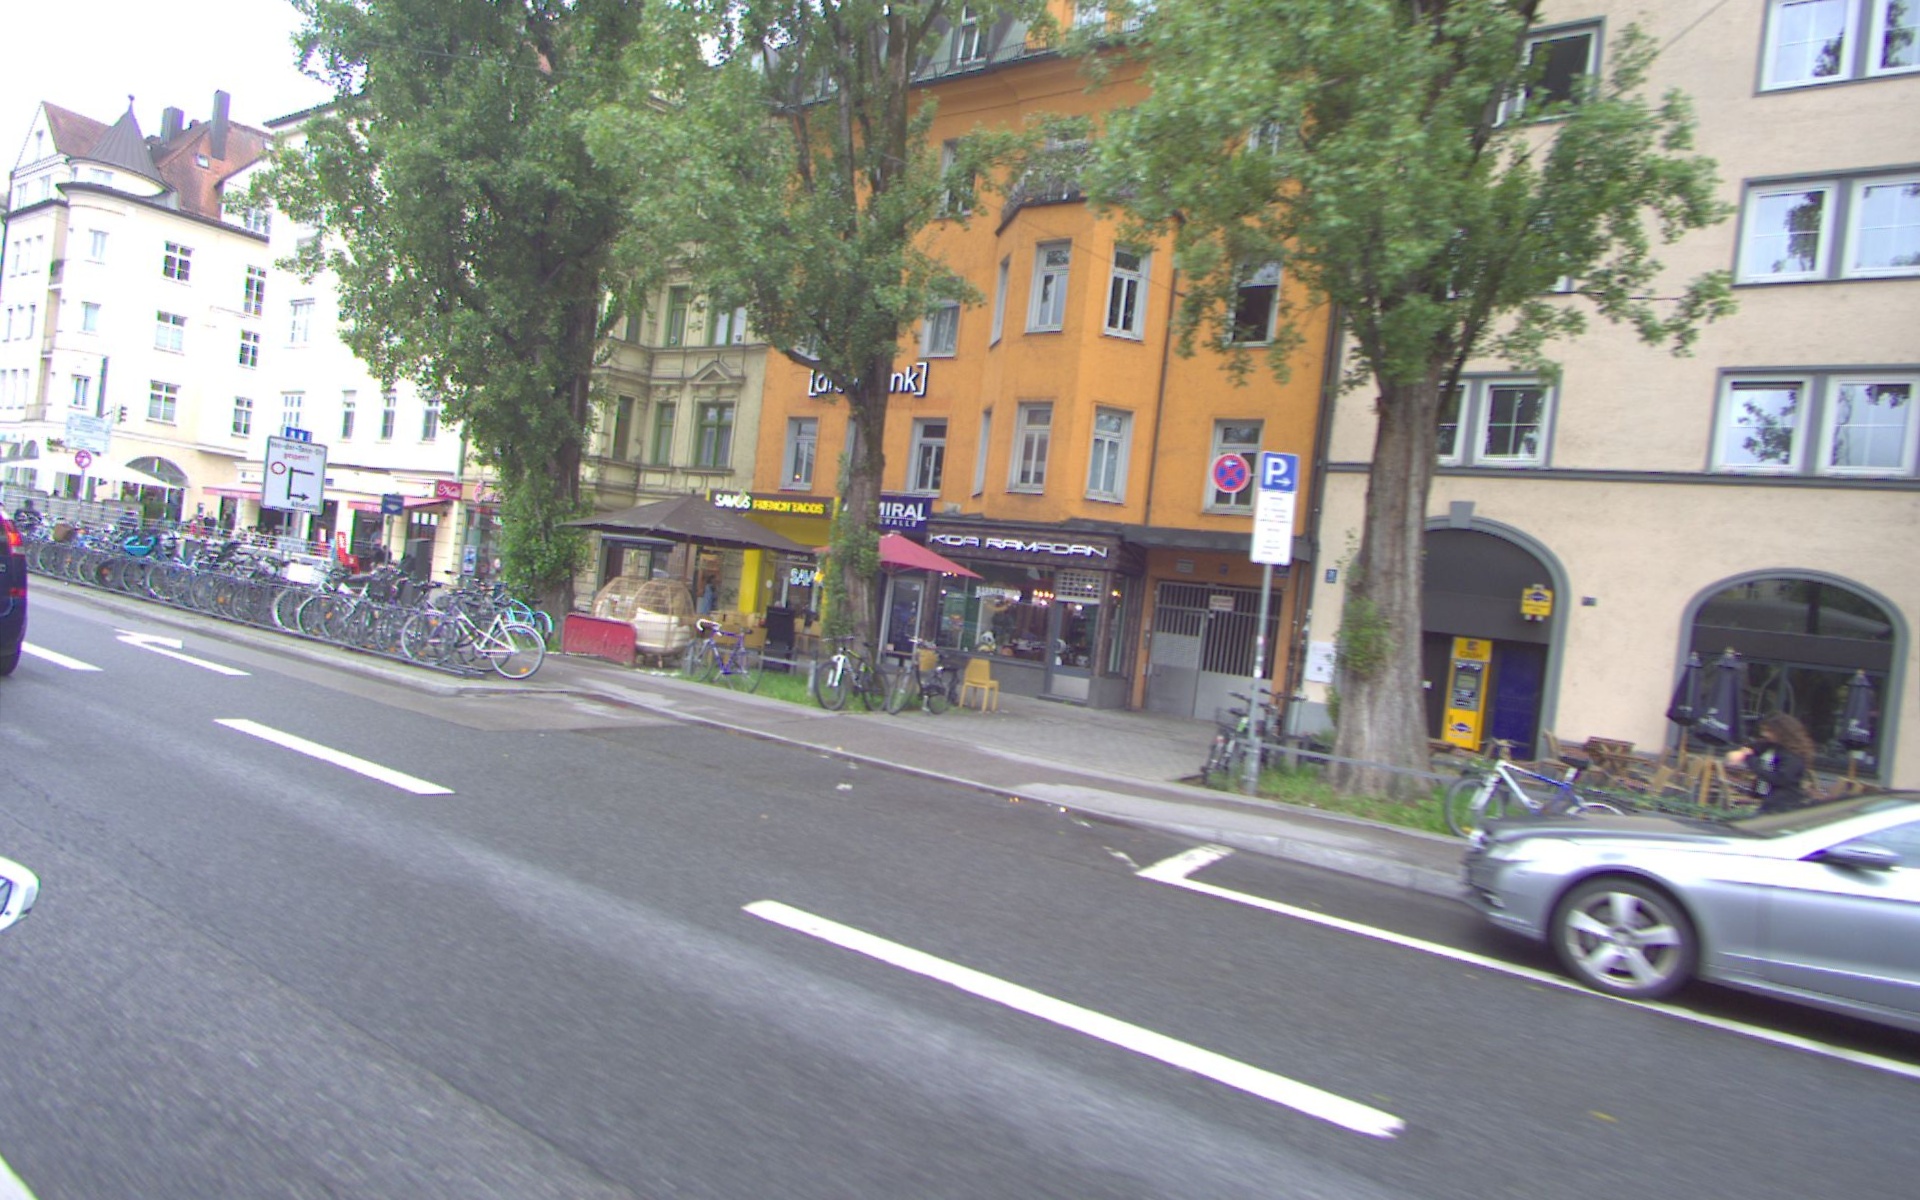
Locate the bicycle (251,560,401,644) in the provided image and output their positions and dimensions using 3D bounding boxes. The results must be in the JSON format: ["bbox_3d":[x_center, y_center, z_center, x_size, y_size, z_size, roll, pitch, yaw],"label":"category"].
[{"bbox_3d":[-9.656,0.029,15.360,1.814,1.008,0.374,9,1,-14],"label":"bicycle"}]

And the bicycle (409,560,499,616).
[{"bbox_3d":[-11.673,-0.264,23.243,0.382,1.058,1.720,9,0,42],"label":"bicycle"}]

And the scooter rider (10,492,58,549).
[{"bbox_3d":[-25.112,-2.151,27.278,0.632,1.406,0.701,7,1,30],"label":"scooter rider"}]

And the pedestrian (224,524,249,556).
[{"bbox_3d":[-29.462,-2.463,40.978,0.691,1.197,0.515,7,1,30],"label":"pedestrian"}]

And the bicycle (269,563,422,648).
[{"bbox_3d":[-9.143,0.091,15.031,1.817,1.008,0.373,9,1,-20],"label":"bicycle"}]

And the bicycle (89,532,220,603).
[{"bbox_3d":[-14.599,-0.580,18.257,1.812,1.008,0.324,9,1,-12],"label":"bicycle"}]

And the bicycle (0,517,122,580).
[{"bbox_3d":[-18.548,-1.044,20.781,1.816,1.008,0.324,9,1,-19],"label":"bicycle"}]

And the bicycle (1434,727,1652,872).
[{"bbox_3d":[5.444,1.830,9.460,1.626,0.977,0.589,7,1,32],"label":"bicycle"}]

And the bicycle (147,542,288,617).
[{"bbox_3d":[-12.639,-0.337,17.167,1.817,1.008,0.323,9,1,-21],"label":"bicycle"}]

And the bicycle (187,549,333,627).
[{"bbox_3d":[-11.418,-0.185,16.457,1.817,1.008,0.373,9,1,-21],"label":"bicycle"}]

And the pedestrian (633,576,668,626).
[{"bbox_3d":[-8.630,0.022,28.062,0.573,1.296,0.584,7,1,31],"label":"pedestrian"}]

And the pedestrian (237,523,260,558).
[{"bbox_3d":[-27.971,-2.343,39.551,0.518,1.315,0.479,7,1,30],"label":"pedestrian"}]

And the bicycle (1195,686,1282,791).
[{"bbox_3d":[3.296,1.571,11.786,0.450,1.067,1.891,7,0,29],"label":"bicycle"}]

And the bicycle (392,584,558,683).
[{"bbox_3d":[-6.282,0.433,13.088,1.811,1.008,0.375,9,1,-8],"label":"bicycle"}]

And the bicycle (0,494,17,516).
[{"bbox_3d":[-52.234,-5.205,54.862,1.833,1.103,0.495,7,1,26],"label":"bicycle"}]

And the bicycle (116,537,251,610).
[{"bbox_3d":[-13.707,-0.468,17.792,1.815,1.008,0.324,9,1,-16],"label":"bicycle"}]

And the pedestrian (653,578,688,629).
[{"bbox_3d":[-7.946,0.105,27.609,0.573,1.296,0.584,7,1,31],"label":"pedestrian"}]

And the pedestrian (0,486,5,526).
[{"bbox_3d":[-38.520,-3.788,39.736,0.874,1.560,0.732,7,1,17],"label":"pedestrian"}]

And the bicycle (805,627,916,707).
[{"bbox_3d":[-1.436,1.007,14.929,0.451,1.067,1.889,7,0,33],"label":"bicycle"}]

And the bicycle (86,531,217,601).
[{"bbox_3d":[-14.908,-0.613,18.582,1.815,1.008,0.324,9,1,-16],"label":"bicycle"}]

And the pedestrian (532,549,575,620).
[{"bbox_3d":[-10.600,-0.404,26.223,0.655,1.761,0.601,7,1,32],"label":"pedestrian"}]

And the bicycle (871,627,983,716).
[{"bbox_3d":[-0.454,1.066,14.901,0.573,1.188,1.889,7,0,33],"label":"bicycle"}]

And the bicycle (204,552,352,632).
[{"bbox_3d":[-10.829,-0.116,16.018,1.817,1.008,0.373,9,1,-21],"label":"bicycle"}]

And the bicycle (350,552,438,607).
[{"bbox_3d":[-12.855,-0.450,22.908,0.380,1.058,1.727,9,0,26],"label":"bicycle"}]

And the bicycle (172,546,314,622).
[{"bbox_3d":[-12.002,-0.256,16.901,1.825,1.008,0.372,9,0,-35],"label":"bicycle"}]

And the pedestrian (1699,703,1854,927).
[{"bbox_3d":[6.535,1.677,8.105,0.751,1.582,0.760,8,1,36],"label":"pedestrian"}]

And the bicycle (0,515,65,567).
[{"bbox_3d":[-20.930,-1.338,22.147,1.812,1.008,0.347,6,1,-14],"label":"bicycle"}]

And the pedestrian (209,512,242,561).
[{"bbox_3d":[-26.110,-2.254,35.752,0.666,1.653,0.615,7,1,32],"label":"pedestrian"}]

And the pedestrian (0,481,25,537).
[{"bbox_3d":[-31.508,-3.022,32.926,0.842,1.765,0.884,7,1,16],"label":"pedestrian"}]

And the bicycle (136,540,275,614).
[{"bbox_3d":[-13.118,-0.392,17.535,1.820,1.008,0.323,9,1,-26],"label":"bicycle"}]

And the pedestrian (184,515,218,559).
[{"bbox_3d":[-26.895,-2.230,35.643,0.606,1.440,0.676,7,1,32],"label":"pedestrian"}]

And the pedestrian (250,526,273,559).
[{"bbox_3d":[-27.113,-2.237,39.057,0.518,1.180,0.479,7,1,30],"label":"pedestrian"}]

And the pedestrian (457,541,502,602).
[{"bbox_3d":[-13.940,-0.830,29.185,0.773,1.653,0.711,7,1,32],"label":"pedestrian"}]

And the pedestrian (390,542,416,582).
[{"bbox_3d":[-19.409,-1.322,35.071,0.543,1.305,0.495,7,1,32],"label":"pedestrian"}]

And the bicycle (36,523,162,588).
[{"bbox_3d":[-17.143,-0.881,20.058,1.818,1.008,0.323,9,1,-22],"label":"bicycle"}]

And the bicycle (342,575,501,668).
[{"bbox_3d":[-7.408,0.299,13.881,1.811,1.008,0.375,9,1,-8],"label":"bicycle"}]

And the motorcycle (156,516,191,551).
[{"bbox_3d":[-30.028,-2.531,38.384,1.545,1.171,0.487,7,1,33],"label":"motorcycle"}]

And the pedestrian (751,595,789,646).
[{"bbox_3d":[-4.894,0.534,25.955,0.573,1.233,0.623,7,1,31],"label":"pedestrian"}]

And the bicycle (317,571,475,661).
[{"bbox_3d":[-7.970,0.232,14.264,1.813,1.008,0.374,9,1,-14],"label":"bicycle"}]

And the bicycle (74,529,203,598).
[{"bbox_3d":[-15.439,-0.676,18.938,1.815,1.008,0.324,9,1,-16],"label":"bicycle"}]

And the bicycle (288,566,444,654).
[{"bbox_3d":[-8.619,0.152,14.654,1.815,1.008,0.374,9,1,-17],"label":"bicycle"}]

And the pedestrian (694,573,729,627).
[{"bbox_3d":[-7.258,0.010,29.366,0.574,1.493,0.625,7,1,34],"label":"pedestrian"}]

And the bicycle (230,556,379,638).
[{"bbox_3d":[-10.245,-0.041,15.779,1.817,1.008,0.373,9,1,-21],"label":"bicycle"}]

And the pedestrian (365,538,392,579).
[{"bbox_3d":[-19.849,-1.414,34.348,0.543,1.305,0.495,7,1,32],"label":"pedestrian"}]

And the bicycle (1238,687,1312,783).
[{"bbox_3d":[4.224,1.754,13.403,0.450,1.127,1.891,7,0,29],"label":"bicycle"}]

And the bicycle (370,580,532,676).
[{"bbox_3d":[-6.788,0.374,13.463,1.811,1.008,0.375,9,1,-8],"label":"bicycle"}]

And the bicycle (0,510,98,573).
[{"bbox_3d":[-19.656,-1.251,21.447,1.819,1.127,0.464,7,1,-26],"label":"bicycle"}]

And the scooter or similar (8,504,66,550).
[{"bbox_3d":[-25.002,-1.979,27.253,1.235,1.088,0.776,7,1,30],"label":"scooter or similar"}]

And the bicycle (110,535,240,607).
[{"bbox_3d":[-14.109,-0.515,18.108,1.812,1.008,0.324,9,1,-11],"label":"bicycle"}]

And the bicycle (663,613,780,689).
[{"bbox_3d":[-3.638,0.763,15.294,1.862,0.903,0.457,7,1,31],"label":"bicycle"}]

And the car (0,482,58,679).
[{"bbox_3d":[-9.617,-0.382,8.703,3.497,1.608,1.705,7,-1,32],"label":"car"}]

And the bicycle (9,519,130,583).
[{"bbox_3d":[-18.008,-0.981,20.365,1.814,1.008,0.324,9,1,-14],"label":"bicycle"}]

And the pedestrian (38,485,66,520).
[{"bbox_3d":[-46.904,-5.038,51.982,0.673,1.707,0.743,8,3,-18],"label":"pedestrian"}]

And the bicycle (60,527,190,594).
[{"bbox_3d":[-16.017,-0.745,19.326,1.818,1.008,0.323,9,1,-22],"label":"bicycle"}]

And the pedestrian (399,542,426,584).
[{"bbox_3d":[-18.729,-1.249,34.427,0.543,1.349,0.495,7,1,32],"label":"pedestrian"}]

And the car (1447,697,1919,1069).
[{"bbox_3d":[5.337,1.625,5.643,4.452,1.458,1.997,7,0,30],"label":"car"}]

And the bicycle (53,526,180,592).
[{"bbox_3d":[-16.484,-0.799,19.694,1.818,1.008,0.323,9,1,-22],"label":"bicycle"}]

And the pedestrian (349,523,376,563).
[{"bbox_3d":[-22.771,-2.177,38.341,0.542,1.414,0.543,7,1,5],"label":"pedestrian"}]
